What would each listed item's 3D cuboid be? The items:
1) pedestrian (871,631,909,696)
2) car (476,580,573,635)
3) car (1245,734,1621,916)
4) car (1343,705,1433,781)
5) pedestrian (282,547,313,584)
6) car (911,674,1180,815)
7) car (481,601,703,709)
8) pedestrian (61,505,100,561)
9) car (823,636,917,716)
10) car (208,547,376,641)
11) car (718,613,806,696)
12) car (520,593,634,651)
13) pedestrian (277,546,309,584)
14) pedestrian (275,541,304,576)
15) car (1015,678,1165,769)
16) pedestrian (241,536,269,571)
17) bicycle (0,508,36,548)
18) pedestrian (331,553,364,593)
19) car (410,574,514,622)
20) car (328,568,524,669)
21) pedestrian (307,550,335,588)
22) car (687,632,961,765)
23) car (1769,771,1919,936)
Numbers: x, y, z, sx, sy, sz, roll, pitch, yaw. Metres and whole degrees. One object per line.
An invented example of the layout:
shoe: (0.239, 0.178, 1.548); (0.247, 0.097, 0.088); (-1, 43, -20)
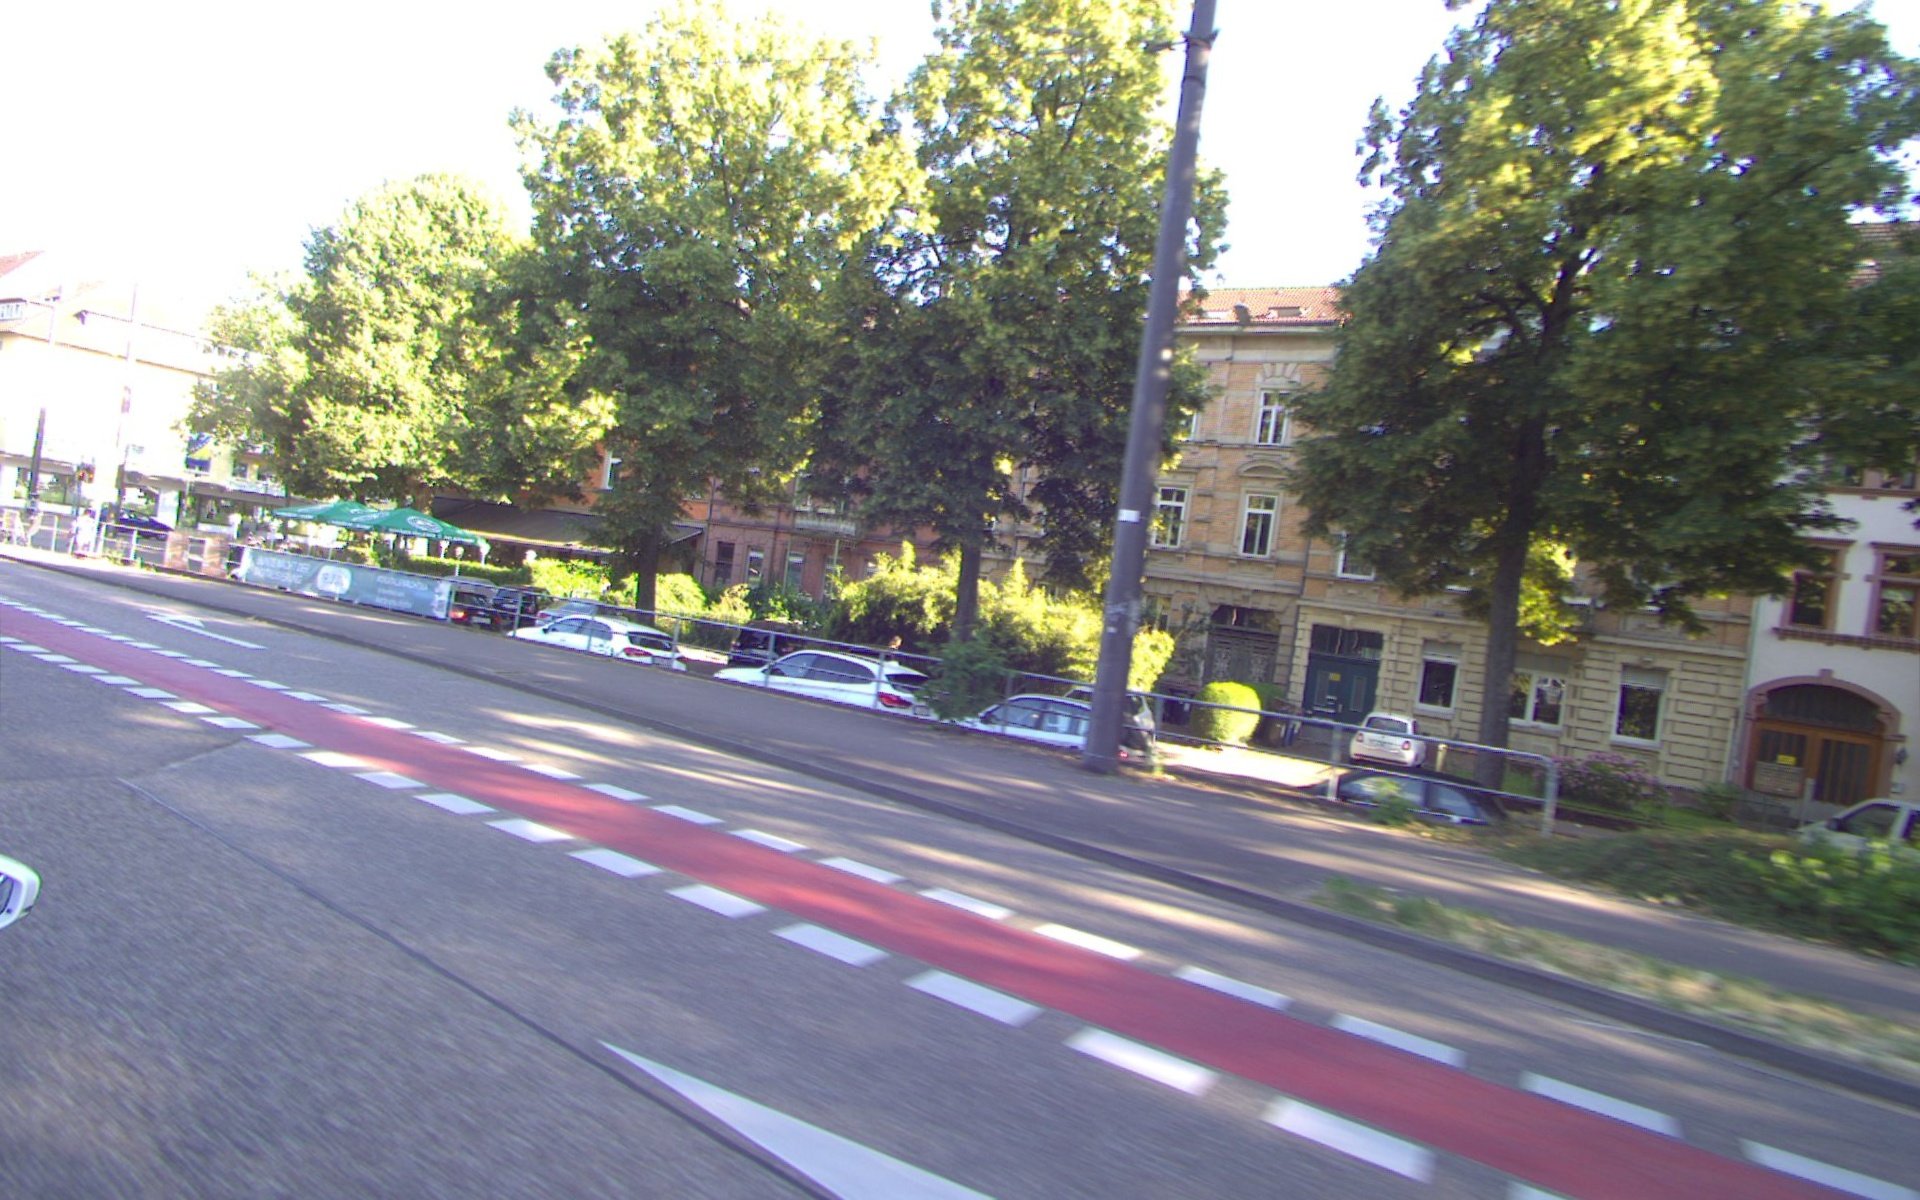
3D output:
pedestrian: (-2.010, 1.830, 28.941); (0.621, 1.767, 0.649); (7, 0, 27)
car: (-14.437, 0.210, 33.595); (1.769, 1.498, 3.993); (8, 1, -7)
car: (5.857, 2.676, 12.707); (3.932, 1.324, 1.798); (6, -2, 30)
car: (11.668, 3.802, 27.288); (1.769, 1.541, 3.572); (7, 0, 29)
pedestrian: (-26.498, -1.391, 40.234); (0.621, 1.352, 0.650); (7, -2, 32)
car: (1.285, 2.107, 15.288); (3.517, 1.458, 1.798); (6, -2, 30)
car: (-7.535, 1.096, 20.498); (4.369, 1.597, 1.798); (6, -2, 31)
pedestrian: (-26.375, -2.010, 30.187); (0.646, 1.580, 0.625); (10, -3, -39)
car: (-2.238, 1.897, 26.126); (1.766, 1.532, 3.999); (8, 1, 2)
car: (-17.682, -0.167, 26.593); (4.285, 1.920, 1.798); (6, -2, 30)
car: (-5.316, 1.396, 27.409); (1.768, 1.756, 3.995); (7, 1, -6)
car: (-11.771, 0.628, 31.221); (1.929, 1.424, 4.246); (8, 1, -3)
pedestrian: (-26.029, -1.369, 39.256); (0.621, 1.352, 0.650); (7, -2, 32)
pedestrian: (-28.975, -1.803, 43.462); (0.621, 1.352, 0.650); (7, -2, 32)
car: (2.989, 2.635, 22.321); (1.769, 1.532, 3.993); (8, 1, 30)
pedestrian: (-30.255, -1.983, 43.174); (0.621, 1.352, 0.650); (7, -2, 32)
bicycle: (-29.144, -2.235, 30.936); (1.770, 1.087, 0.499); (6, -1, 32)
pedestrian: (-22.610, -1.003, 37.159); (0.621, 1.352, 0.650); (7, -2, 32)
car: (-17.143, -0.102, 34.831); (1.748, 1.365, 3.995); (8, 1, -5)
car: (-12.657, 0.437, 23.833); (4.136, 1.823, 1.800); (6, -2, 25)
pedestrian: (-24.092, -1.165, 37.920); (0.643, 1.352, 0.627); (10, -2, -28)
car: (-2.425, 1.651, 17.578); (4.478, 1.597, 1.798); (6, -2, 31)
car: (15.357, 4.150, 15.438); (1.838, 1.990, 4.680); (8, 1, 0)
